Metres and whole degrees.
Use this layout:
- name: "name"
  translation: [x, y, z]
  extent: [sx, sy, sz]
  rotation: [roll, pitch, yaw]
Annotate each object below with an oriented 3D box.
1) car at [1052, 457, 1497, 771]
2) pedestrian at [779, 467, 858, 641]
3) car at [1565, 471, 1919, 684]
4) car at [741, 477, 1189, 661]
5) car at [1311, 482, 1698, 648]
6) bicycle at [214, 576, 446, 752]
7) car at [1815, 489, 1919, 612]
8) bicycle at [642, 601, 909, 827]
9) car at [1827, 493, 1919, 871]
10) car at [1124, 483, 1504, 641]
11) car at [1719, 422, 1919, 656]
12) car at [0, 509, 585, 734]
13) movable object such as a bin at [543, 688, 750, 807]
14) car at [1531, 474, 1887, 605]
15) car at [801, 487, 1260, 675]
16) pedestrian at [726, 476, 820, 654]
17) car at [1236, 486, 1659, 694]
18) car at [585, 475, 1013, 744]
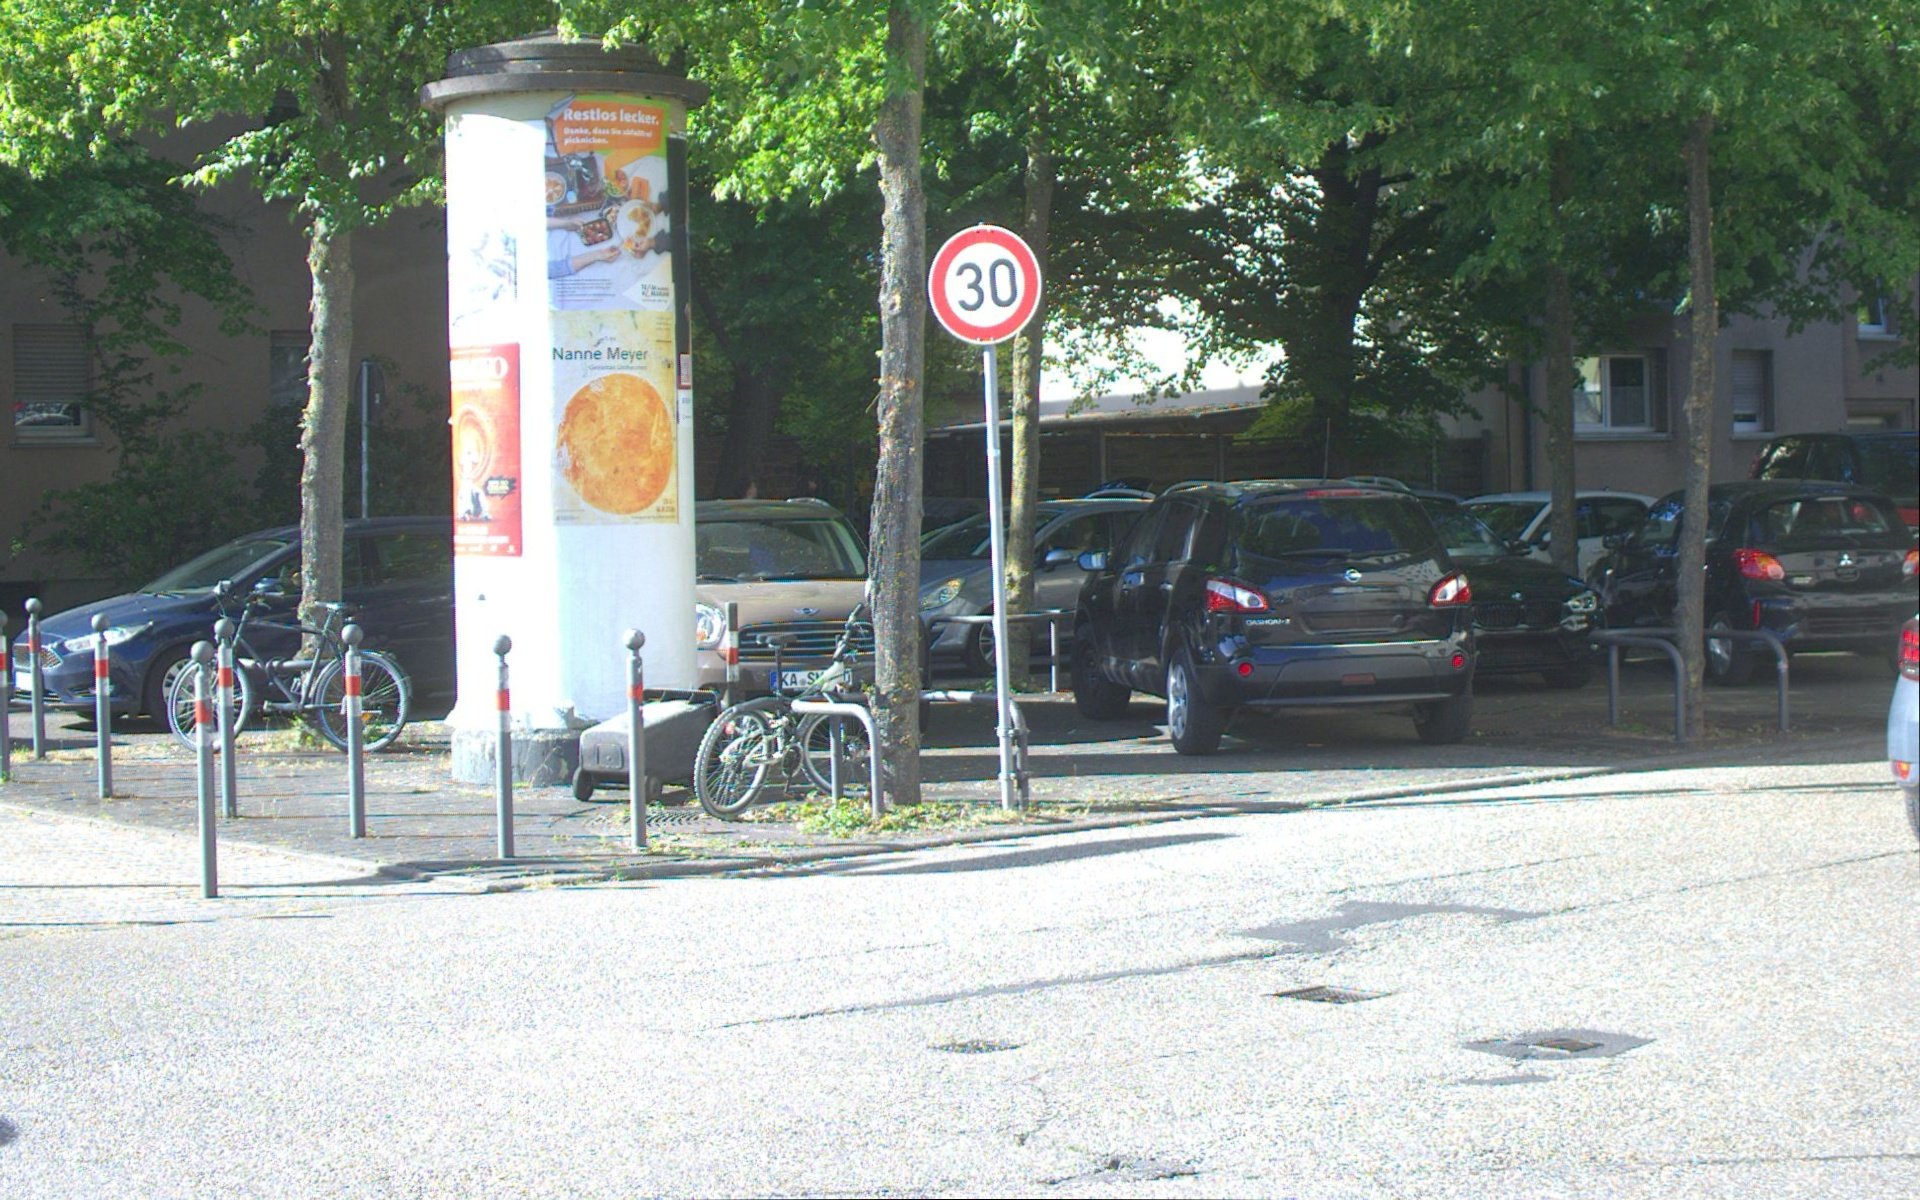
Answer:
- name: "car"
  translation: [1.868, -0.013, 21.828]
  extent: [1.831, 1.665, 4.339]
  rotation: [-1, 4, -8]
- name: "pedestrian"
  translation: [-1.436, -0.466, 34.831]
  extent: [0.740, 1.729, 0.540]
  rotation: [-2, 2, -5]
- name: "car"
  translation: [6.127, -0.222, 26.310]
  extent: [1.755, 1.475, 3.825]
  rotation: [-2, 2, -9]
- name: "car"
  translation: [0.097, -0.347, 33.820]
  extent: [4.235, 1.634, 1.759]
  rotation: [-3, 2, -40]
- name: "car"
  translation: [5.406, -0.381, 33.834]
  extent: [3.939, 1.481, 1.758]
  rotation: [-3, 3, -45]
- name: "bicycle"
  translation: [-4.108, 0.400, 22.495]
  extent: [0.353, 1.068, 1.589]
  rotation: [0, 2, 41]
- name: "car"
  translation: [11.671, -0.607, 38.657]
  extent: [4.401, 1.290, 1.769]
  rotation: [-3, 0, -41]
- name: "bicycle"
  translation: [-0.940, 0.571, 17.878]
  extent: [0.353, 1.068, 1.589]
  rotation: [0, 2, 41]
- name: "car"
  translation: [5.653, 0.254, 14.486]
  extent: [4.011, 1.492, 1.724]
  rotation: [-3, 2, -37]
- name: "car"
  translation: [3.853, -0.443, 37.126]
  extent: [3.937, 1.564, 1.759]
  rotation: [-3, 2, -38]
- name: "car"
  translation: [8.198, -0.578, 29.794]
  extent: [1.929, 1.867, 4.504]
  rotation: [-1, 2, -4]
- name: "car"
  translation: [-5.244, 0.105, 26.511]
  extent: [4.288, 1.513, 1.908]
  rotation: [-3, 2, -38]
- name: "movable object such as a bin"
  translation: [-1.718, 0.804, 18.959]
  extent: [0.577, 0.563, 1.112]
  rotation: [0, 2, 31]
- name: "car"
  translation: [8.972, -0.747, 41.043]
  extent: [4.331, 1.430, 1.769]
  rotation: [-3, 2, -38]
- name: "car"
  translation: [0.671, -0.206, 30.174]
  extent: [3.939, 1.481, 1.758]
  rotation: [-3, 3, -45]
- name: "pedestrian"
  translation: [-1.851, -0.347, 33.971]
  extent: [0.538, 1.729, 0.742]
  rotation: [-3, 2, -42]
- name: "car"
  translation: [3.603, -0.128, 26.144]
  extent: [1.815, 1.417, 3.951]
  rotation: [-2, 2, -14]
- name: "car"
  translation: [-1.188, 0.015, 23.222]
  extent: [1.916, 1.605, 4.001]
  rotation: [-2, 2, -17]
